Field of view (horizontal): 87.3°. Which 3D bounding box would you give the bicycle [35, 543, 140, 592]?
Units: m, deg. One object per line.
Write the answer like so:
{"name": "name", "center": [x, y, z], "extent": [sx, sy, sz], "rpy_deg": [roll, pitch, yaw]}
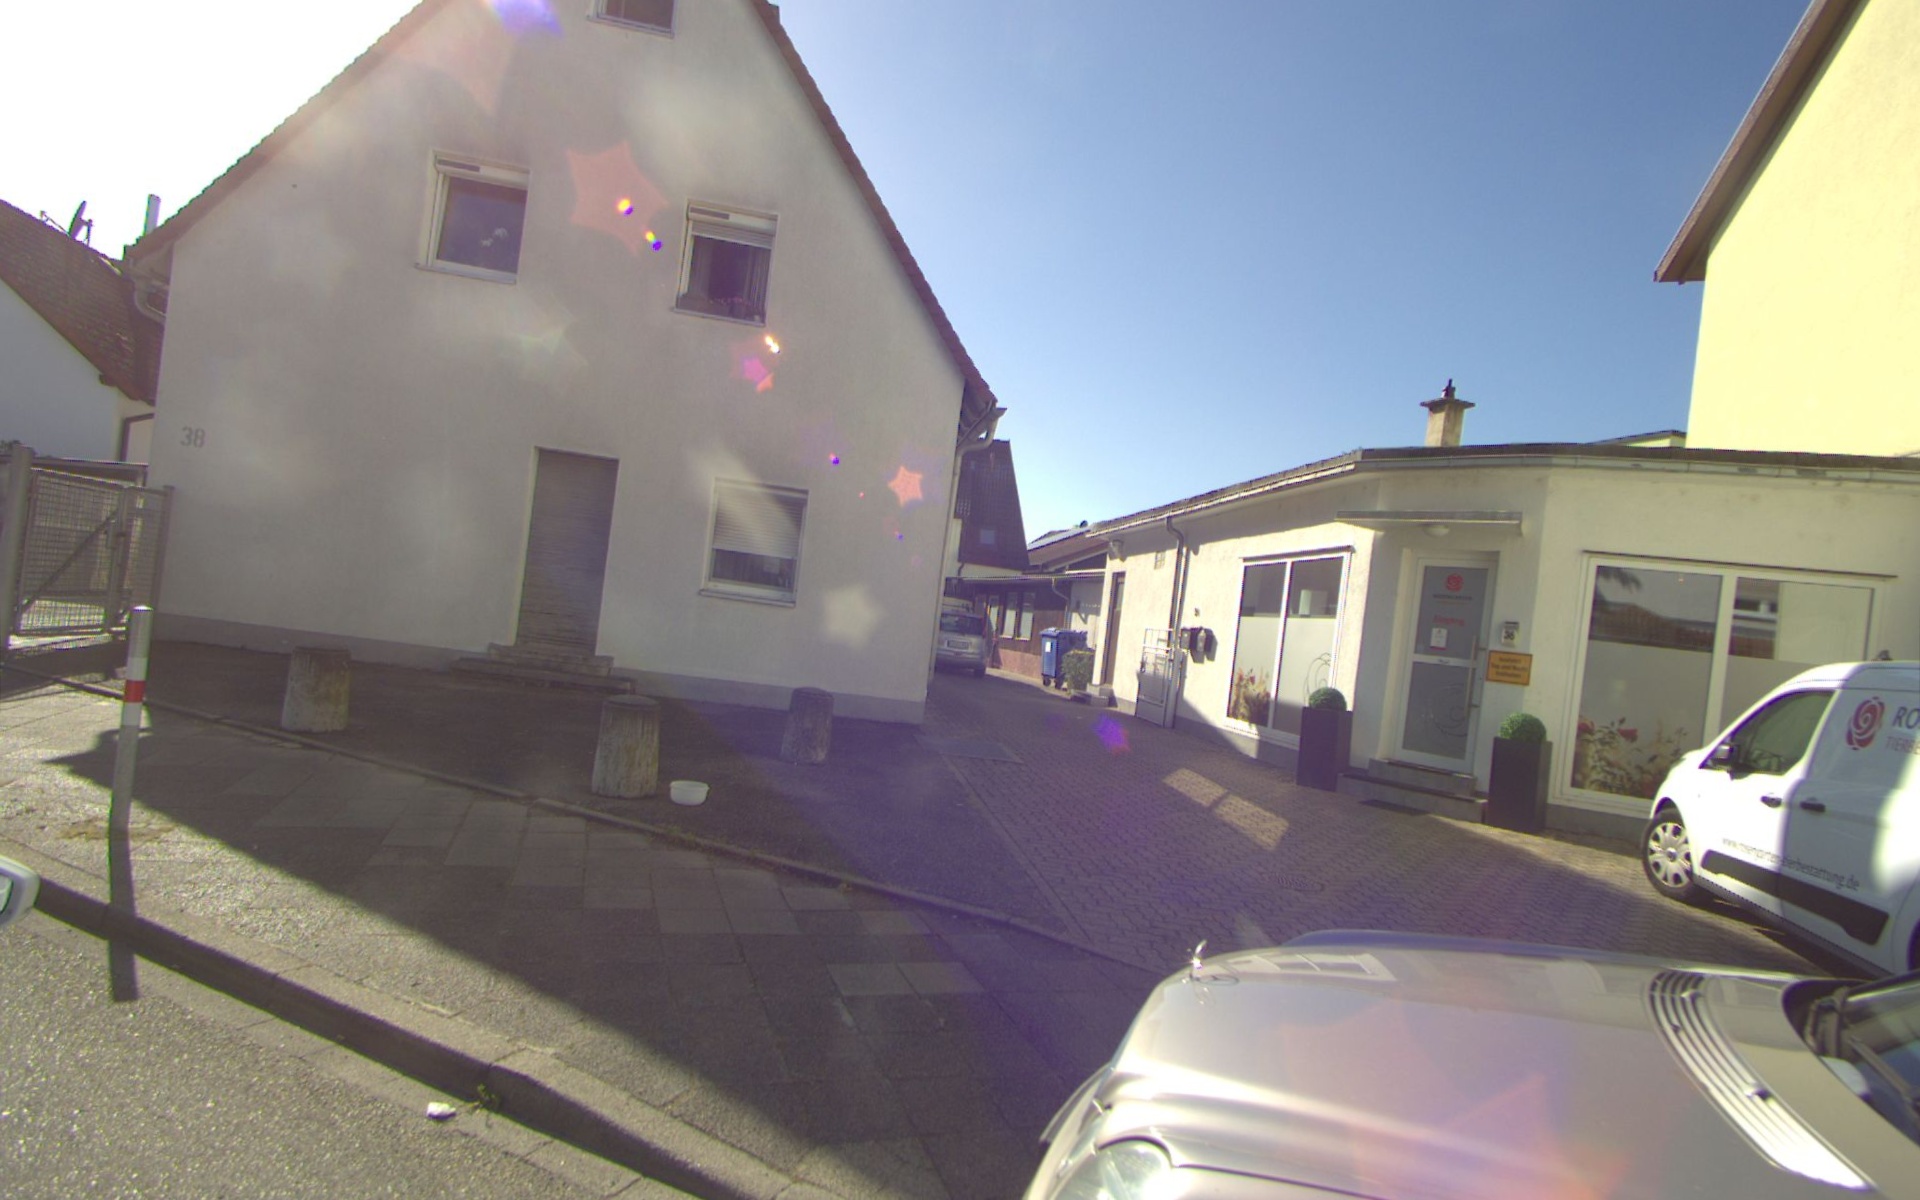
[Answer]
{"name": "bicycle", "center": [-15.317, -0.562, 17.675], "extent": [1.344, 0.664, 0.370], "rpy_deg": [8, 0, -10]}

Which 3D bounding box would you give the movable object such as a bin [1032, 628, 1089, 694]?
{"name": "movable object such as a bin", "center": [2.286, 1.377, 22.935], "extent": [0.826, 1.315, 1.161], "rpy_deg": [7, 0, -13]}

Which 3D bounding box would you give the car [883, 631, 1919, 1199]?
{"name": "car", "center": [2.318, 1.105, 1.175], "extent": [4.578, 1.493, 1.816], "rpy_deg": [7, 0, 27]}

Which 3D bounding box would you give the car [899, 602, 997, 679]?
{"name": "car", "center": [-0.366, 0.938, 24.778], "extent": [1.614, 1.525, 3.462], "rpy_deg": [7, -1, -12]}

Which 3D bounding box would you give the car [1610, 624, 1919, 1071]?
{"name": "car", "center": [5.518, 1.211, 5.413], "extent": [1.872, 1.911, 4.776], "rpy_deg": [7, 1, 16]}

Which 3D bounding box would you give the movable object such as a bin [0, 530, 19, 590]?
{"name": "movable object such as a bin", "center": [-15.339, -0.666, 15.849], "extent": [0.415, 0.933, 0.516], "rpy_deg": [7, -2, -6]}
